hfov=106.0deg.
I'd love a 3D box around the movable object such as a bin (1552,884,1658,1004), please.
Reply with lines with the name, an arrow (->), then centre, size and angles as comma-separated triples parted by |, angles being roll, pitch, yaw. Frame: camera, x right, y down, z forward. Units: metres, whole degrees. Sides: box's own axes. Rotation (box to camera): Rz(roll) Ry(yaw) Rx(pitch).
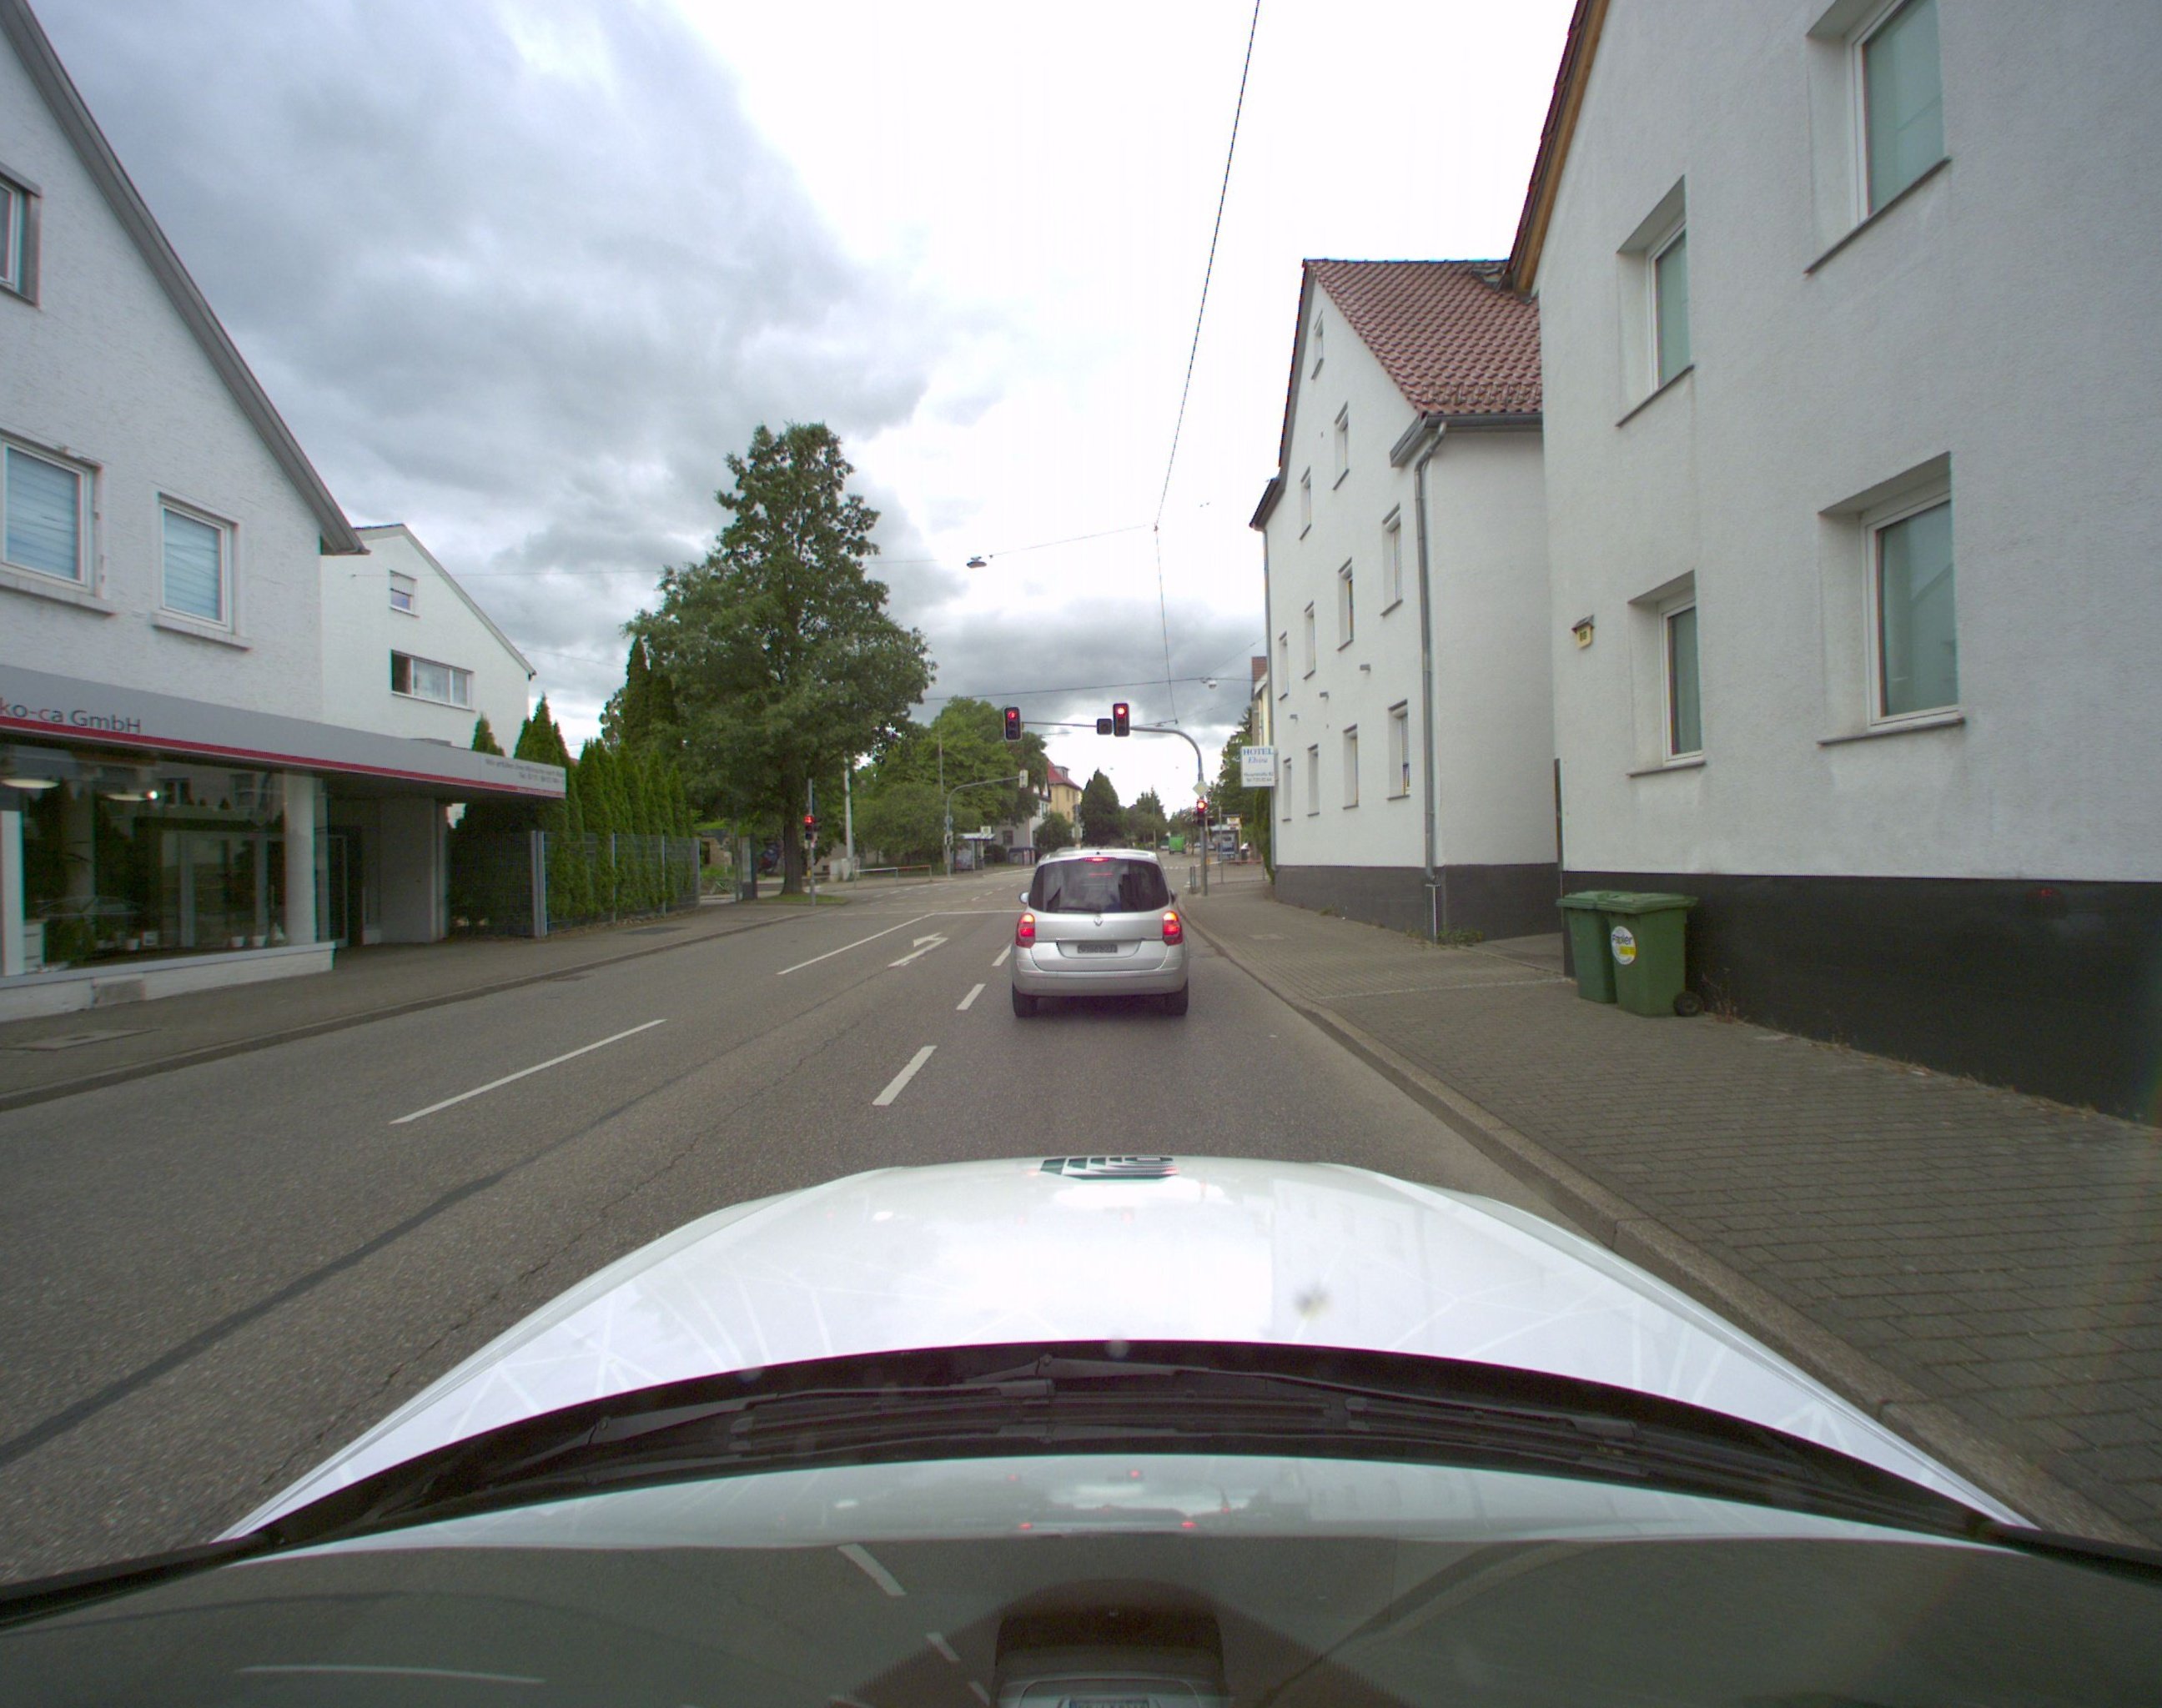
movable object such as a bin -> 4.463, 0.753, 6.965 | 0.538, 0.941, 0.487 | -4, 0, 2

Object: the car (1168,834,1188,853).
car -> 13.172, -1.359, 110.334 | 2.045, 2.512, 5.614 | -1, 0, 12

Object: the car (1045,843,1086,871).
car -> -1.077, 0.218, 58.480 | 1.913, 1.773, 4.013 | -5, -1, 12

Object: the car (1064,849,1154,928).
car -> 0.594, 0.680, 17.840 | 1.748, 1.530, 3.798 | -1, 0, 1

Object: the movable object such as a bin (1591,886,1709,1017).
movable object such as a bin -> 4.471, 0.752, 6.428 | 0.538, 0.941, 0.487 | -4, 0, 2

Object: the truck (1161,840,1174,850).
truck -> 18.064, -1.815, 170.455 | 2.088, 2.013, 5.766 | -1, 0, 11

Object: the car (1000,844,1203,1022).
car -> 0.228, 0.697, 9.093 | 1.748, 1.530, 4.001 | -1, 0, 1
